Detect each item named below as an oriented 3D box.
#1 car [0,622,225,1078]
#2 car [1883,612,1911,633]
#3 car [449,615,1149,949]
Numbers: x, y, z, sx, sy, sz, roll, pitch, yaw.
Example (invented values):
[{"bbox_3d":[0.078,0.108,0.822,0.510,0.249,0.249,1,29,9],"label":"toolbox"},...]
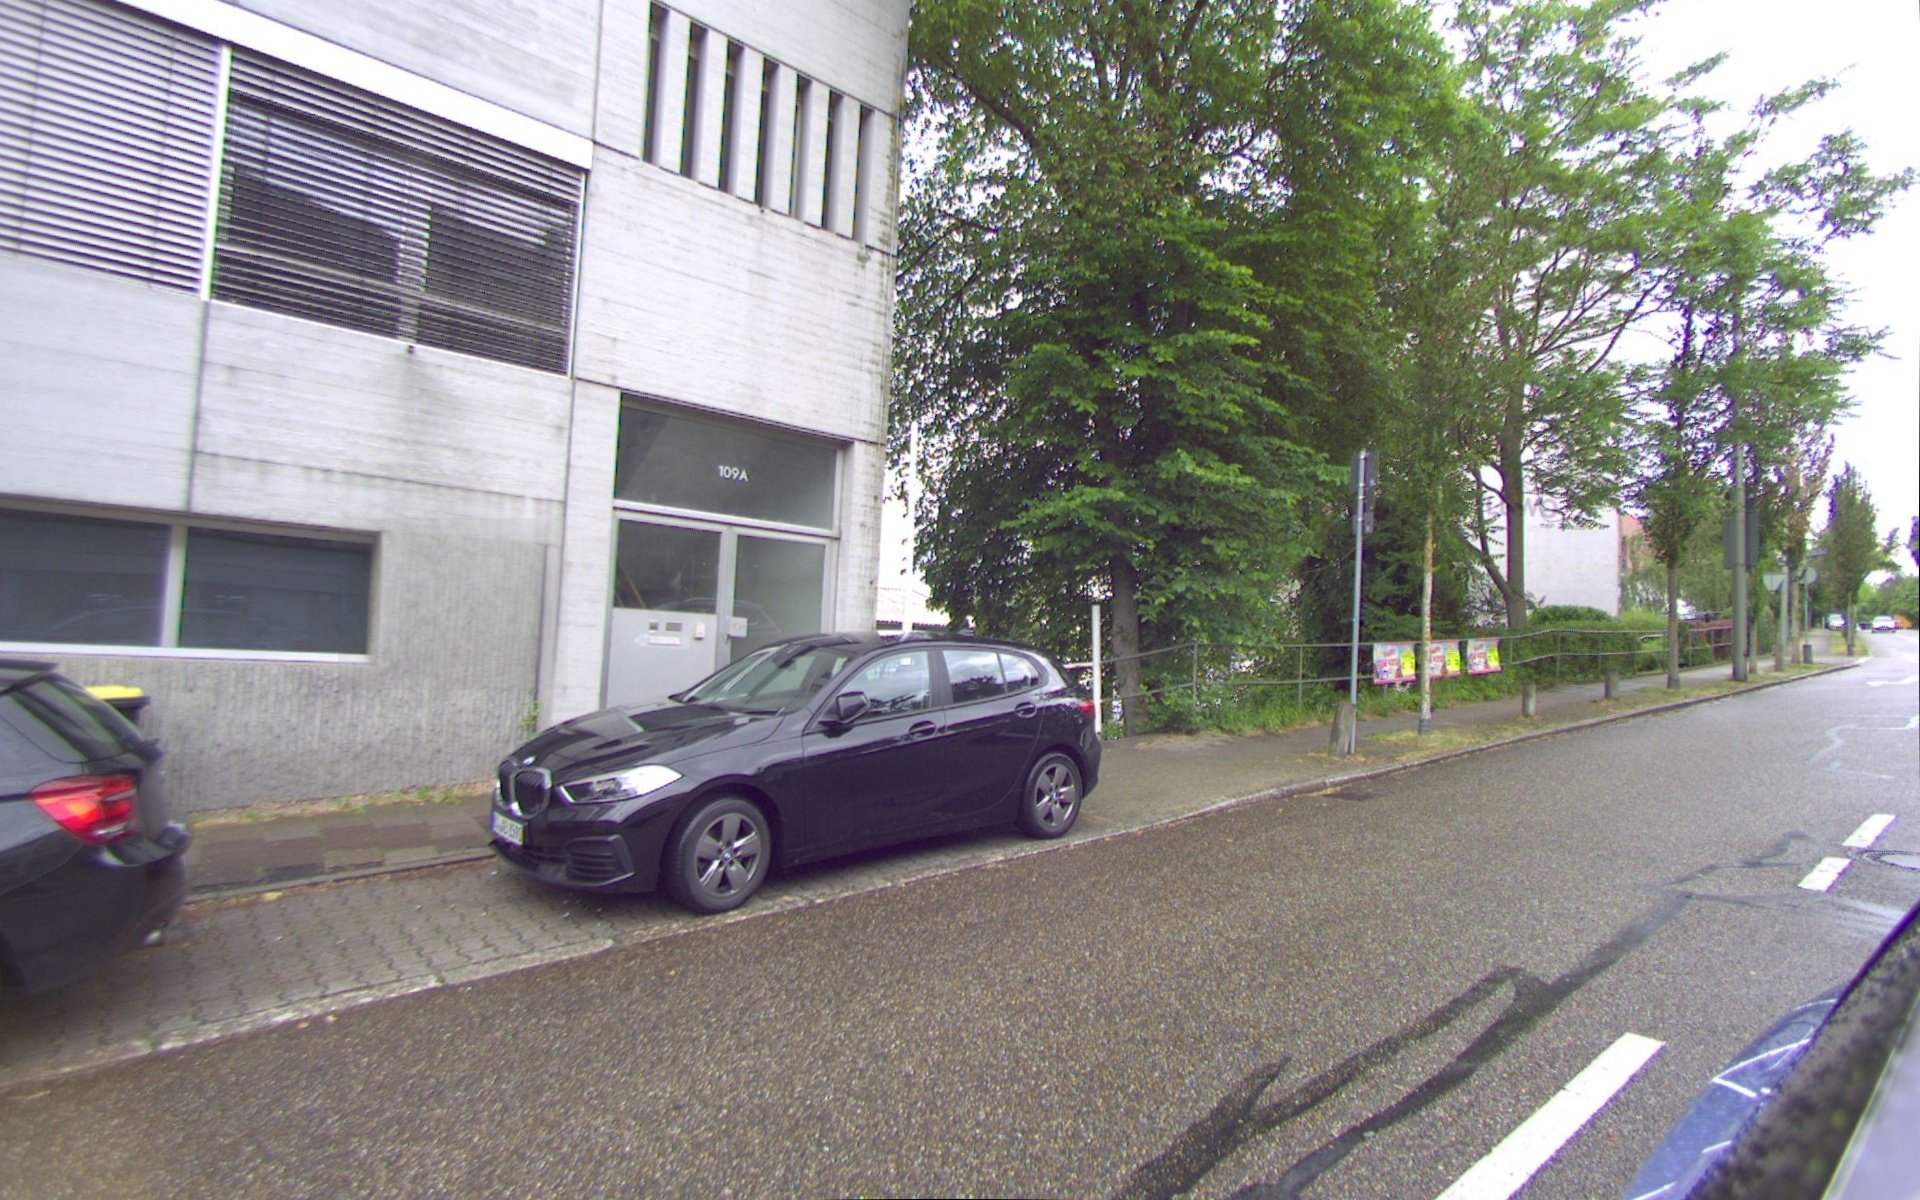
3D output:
[{"bbox_3d":[-4.910,0.852,3.162,4.173,1.466,1.753,0,0,-38],"label":"car"},{"bbox_3d":[87.805,2.108,94.875,1.887,1.741,4.172,2,2,43],"label":"car"},{"bbox_3d":[-0.846,0.879,6.922,4.367,1.453,1.996,0,1,-43],"label":"car"}]
